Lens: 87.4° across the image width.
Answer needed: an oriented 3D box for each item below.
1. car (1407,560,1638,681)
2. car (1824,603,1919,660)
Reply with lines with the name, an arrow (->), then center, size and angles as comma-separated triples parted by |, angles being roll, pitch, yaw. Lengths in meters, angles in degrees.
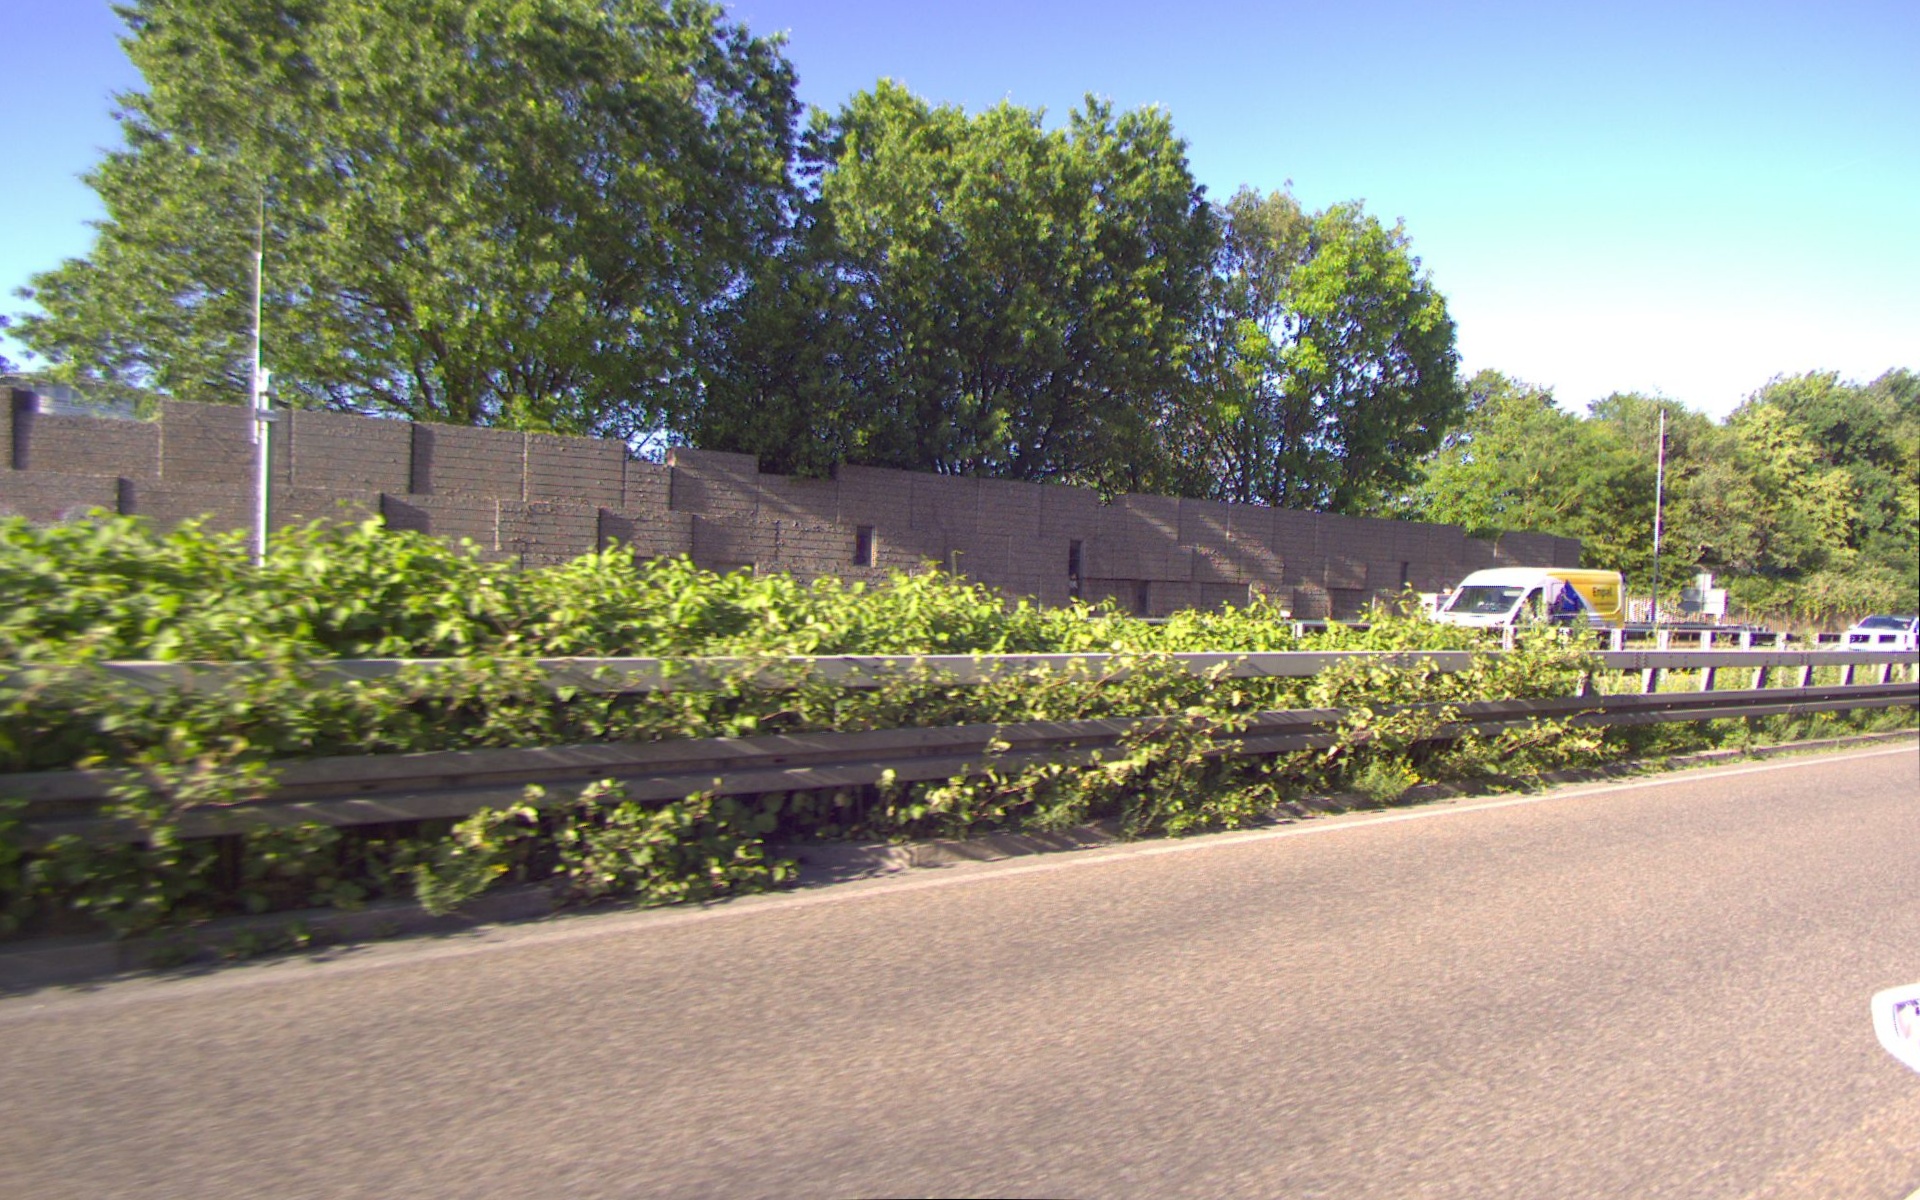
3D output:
car -> 13.936, 0.446, 24.778 | 5.980, 2.646, 2.136 | 0, 3, -30
car -> 33.444, 1.083, 36.206 | 4.728, 1.807, 1.984 | 0, 3, -30
